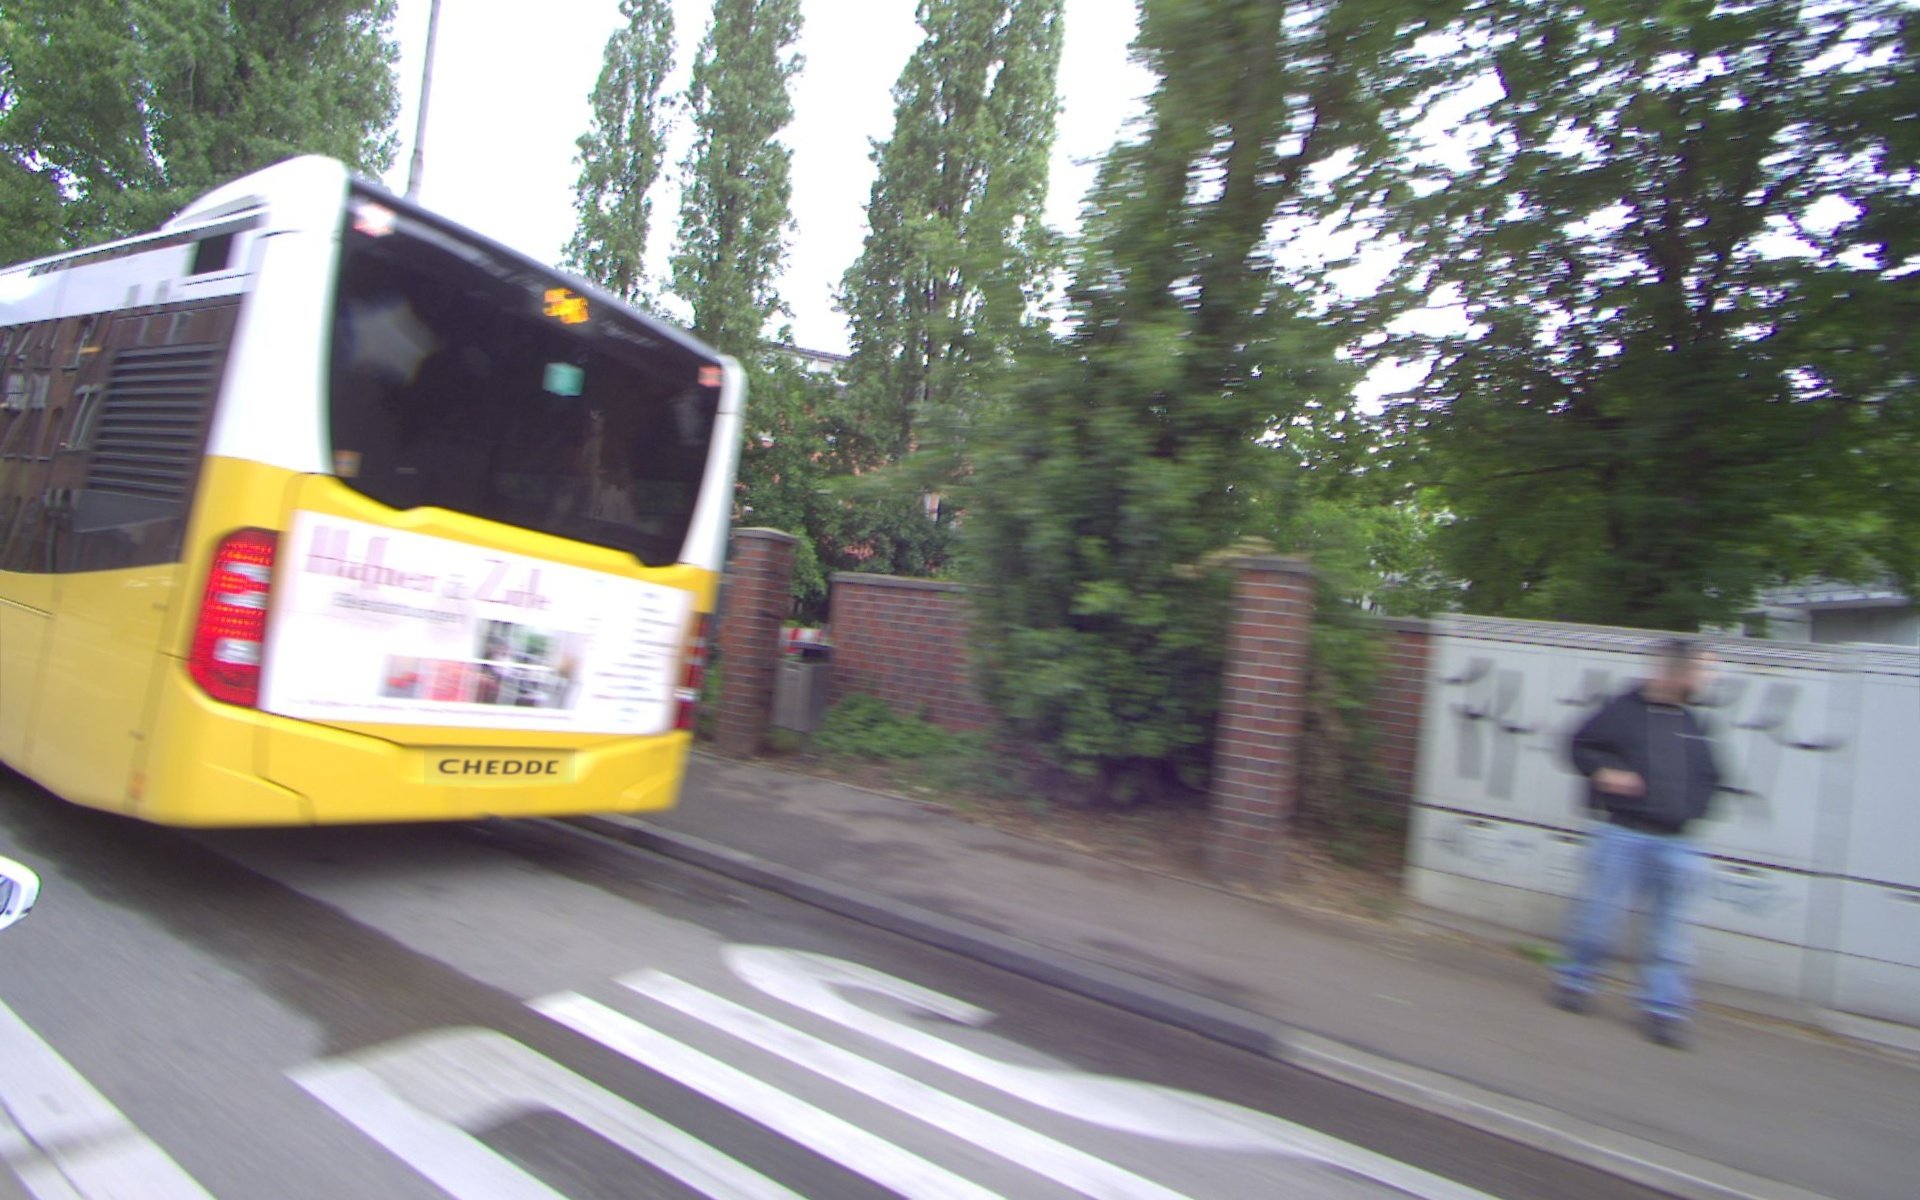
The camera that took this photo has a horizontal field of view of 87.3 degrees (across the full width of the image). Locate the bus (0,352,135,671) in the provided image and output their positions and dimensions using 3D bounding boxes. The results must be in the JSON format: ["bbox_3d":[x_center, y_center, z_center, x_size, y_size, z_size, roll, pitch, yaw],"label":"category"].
[{"bbox_3d":[-13.865,-1.355,12.432,9.068,3.171,2.679,6,-4,33],"label":"bus"}]

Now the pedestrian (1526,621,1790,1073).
[{"bbox_3d":[3.169,1.059,4.635,0.808,1.797,0.583,6,-4,32],"label":"pedestrian"}]

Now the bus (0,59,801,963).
[{"bbox_3d":[-5.953,-0.569,7.284,9.877,3.169,2.670,6,-4,33],"label":"bus"}]
